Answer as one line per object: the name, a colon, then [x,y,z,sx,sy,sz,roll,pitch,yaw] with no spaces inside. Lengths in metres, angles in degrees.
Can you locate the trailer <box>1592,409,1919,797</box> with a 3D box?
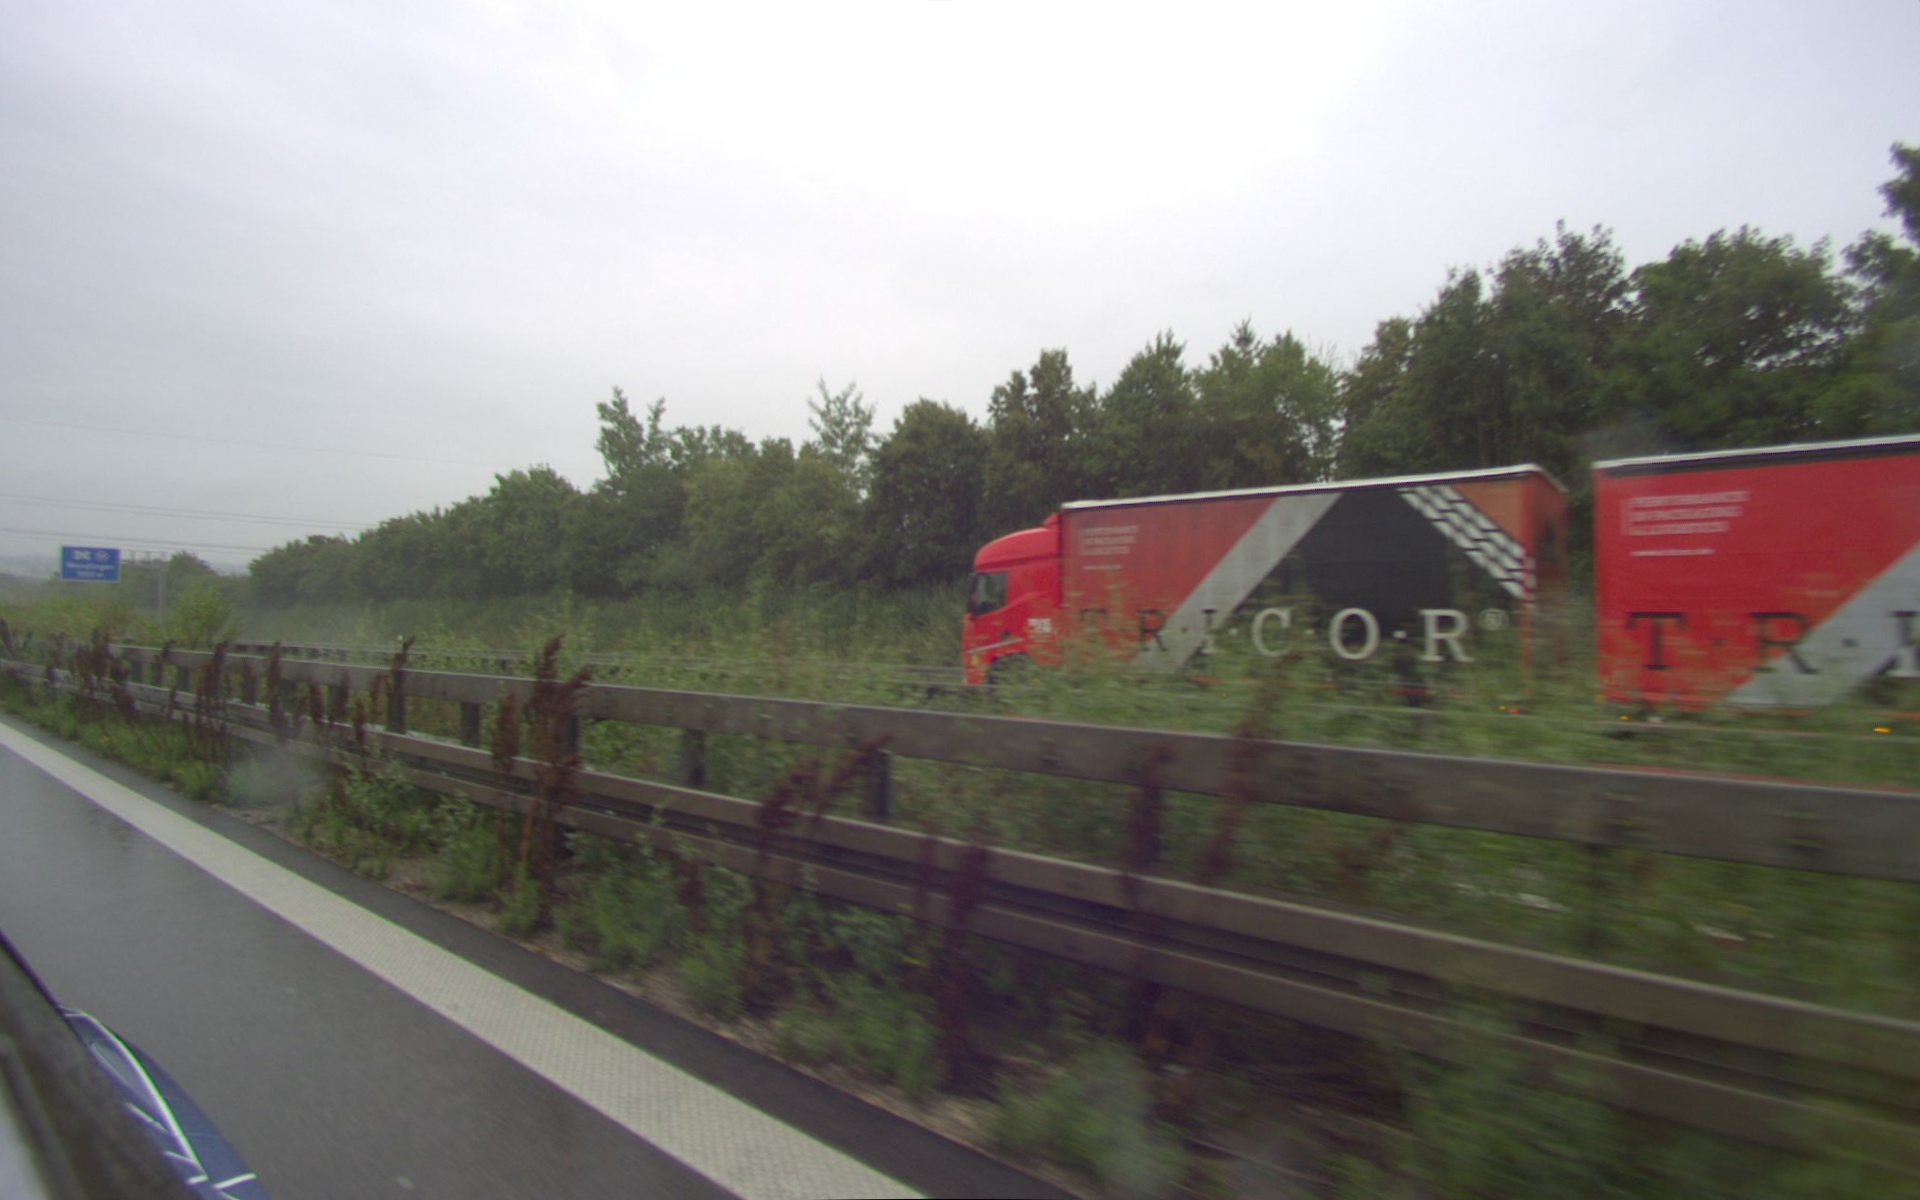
trailer: [12.297,0.019,11.377,8.483,4.262,2.670,-1,-1,40]

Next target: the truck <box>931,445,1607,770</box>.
truck: [4.588,0.183,17.973,11.345,4.262,2.670,-1,-1,41]
